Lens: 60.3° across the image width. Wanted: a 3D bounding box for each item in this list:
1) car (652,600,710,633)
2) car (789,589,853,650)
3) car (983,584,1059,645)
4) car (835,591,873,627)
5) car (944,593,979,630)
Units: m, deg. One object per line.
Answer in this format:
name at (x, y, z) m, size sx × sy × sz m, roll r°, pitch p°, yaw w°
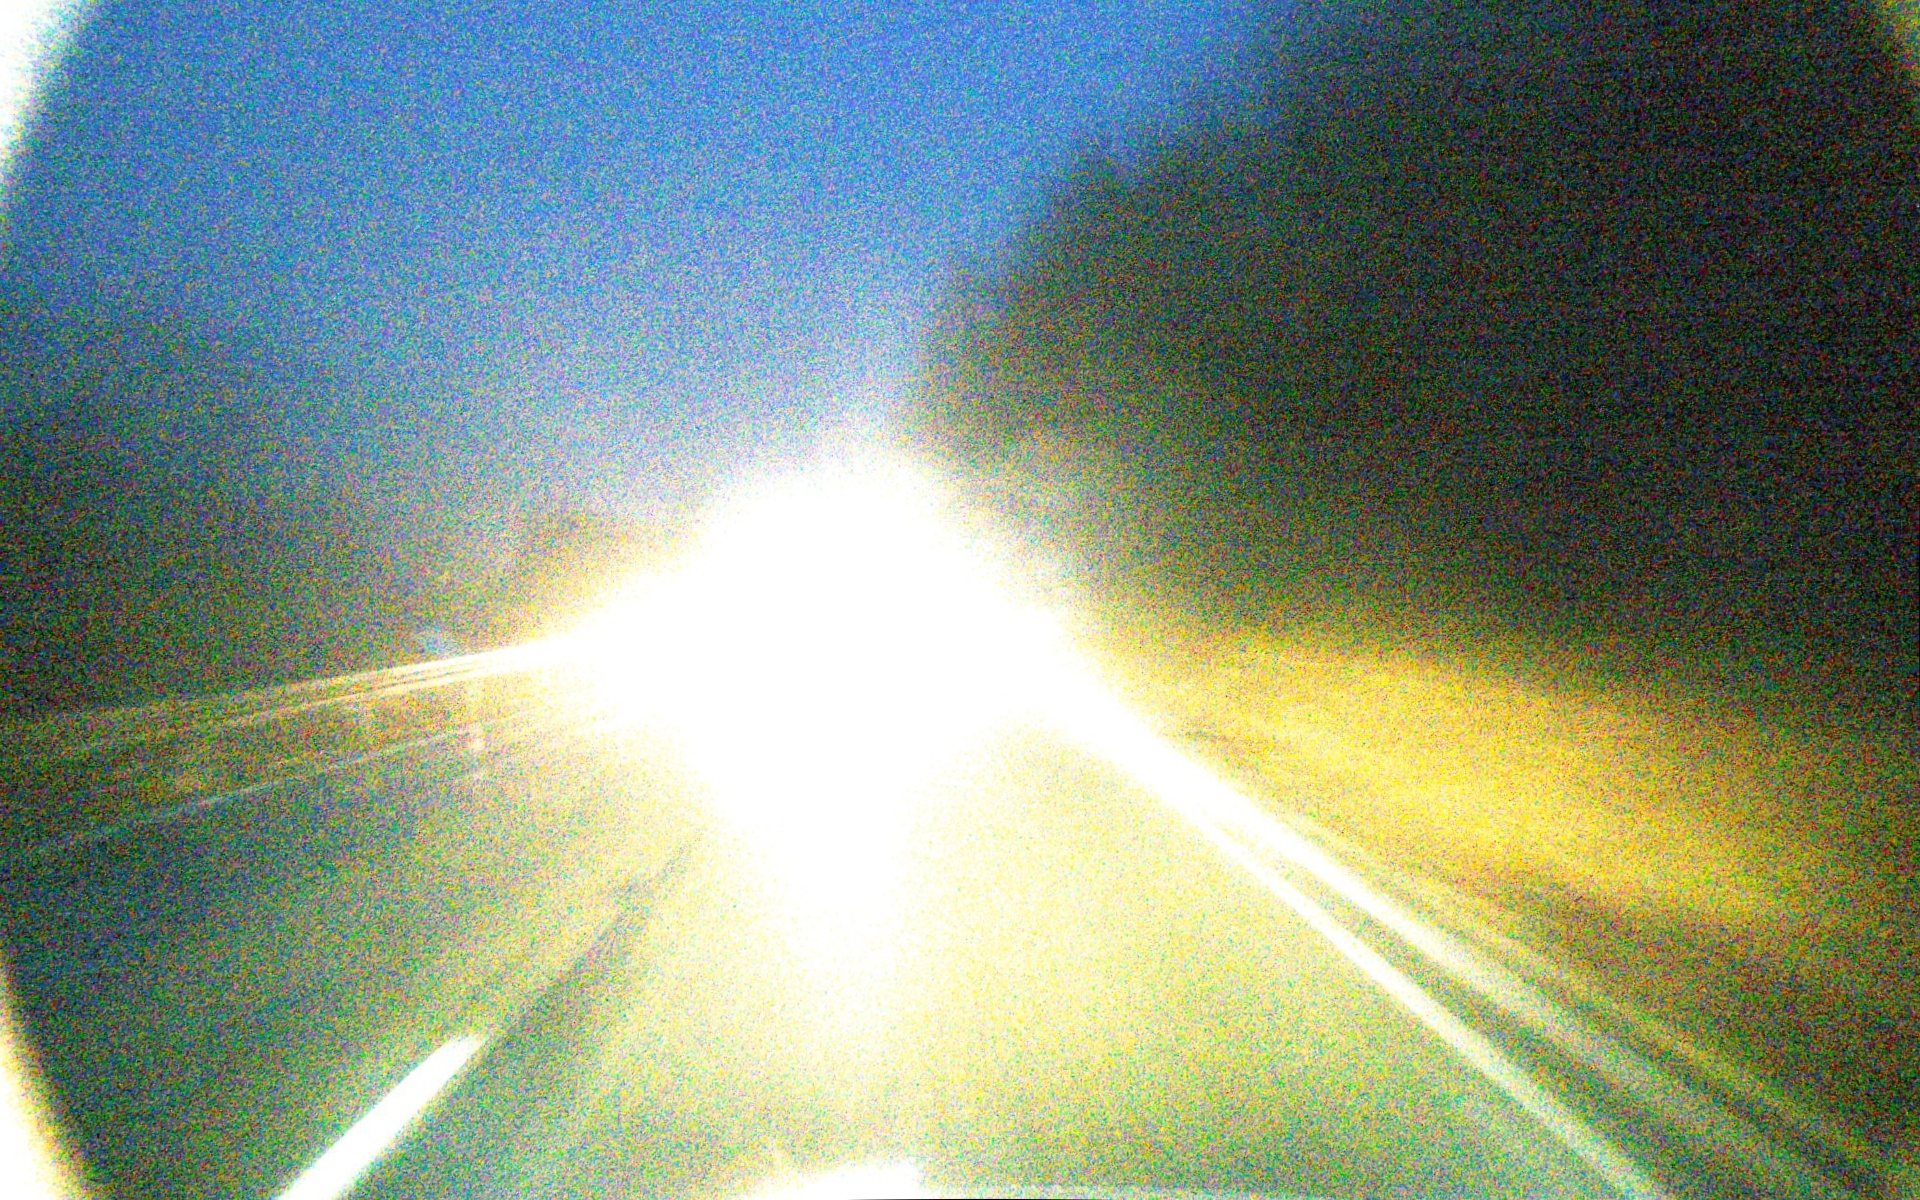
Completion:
car at (-13.020, 0.744, 77.367) m, size 1.953 × 1.473 × 4.429 m, roll 1°, pitch 0°, yaw 0°
car at (-4.880, 0.661, 58.705) m, size 1.953 × 2.049 × 3.999 m, roll 1°, pitch 0°, yaw -1°
car at (1.683, 0.383, 46.839) m, size 1.953 × 1.646 × 3.999 m, roll 0°, pitch 0°, yaw -1°
car at (-6.168, 0.523, 96.690) m, size 1.953 × 2.049 × 3.999 m, roll 1°, pitch 0°, yaw -1°
car at (0.077, 0.652, 96.961) m, size 1.953 × 2.049 × 3.999 m, roll 1°, pitch 0°, yaw -1°
